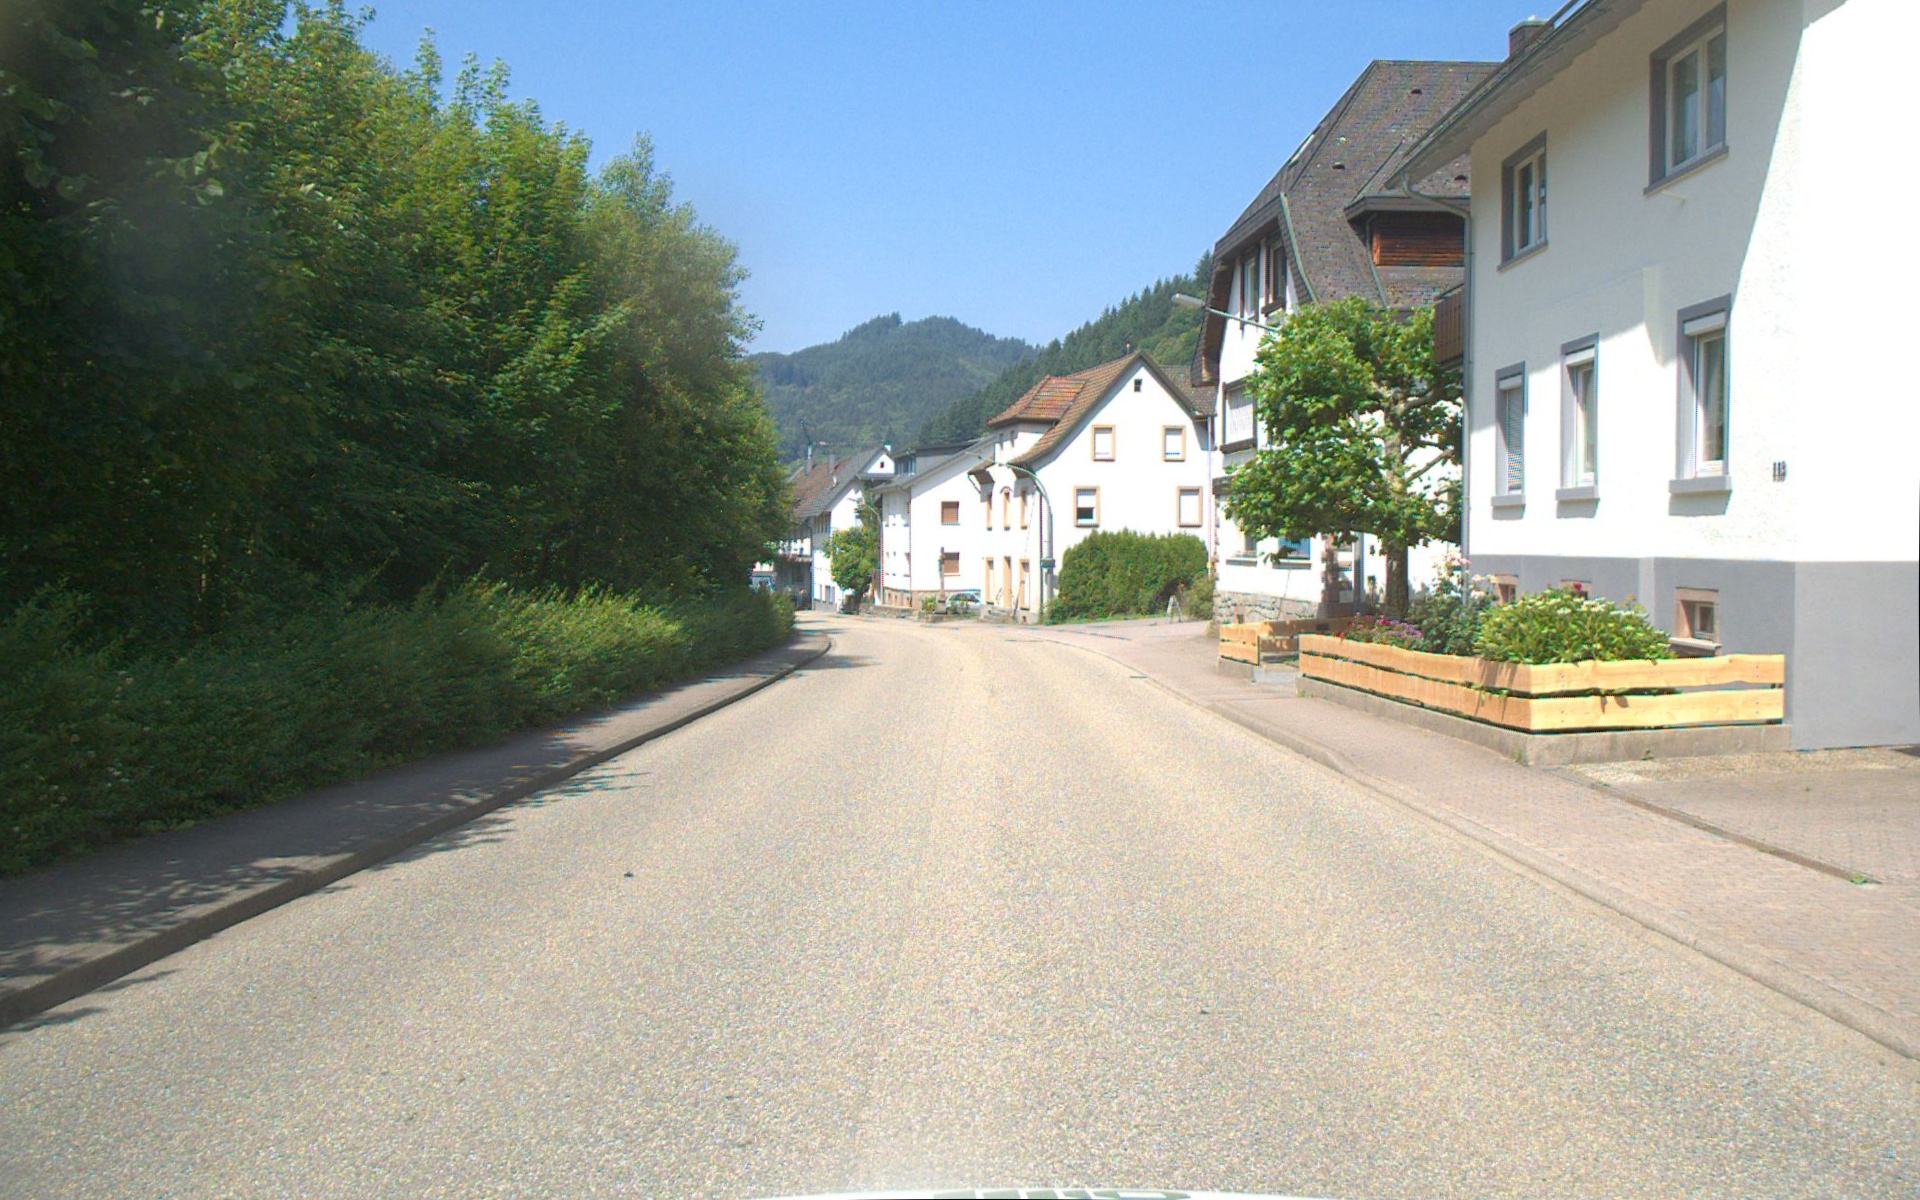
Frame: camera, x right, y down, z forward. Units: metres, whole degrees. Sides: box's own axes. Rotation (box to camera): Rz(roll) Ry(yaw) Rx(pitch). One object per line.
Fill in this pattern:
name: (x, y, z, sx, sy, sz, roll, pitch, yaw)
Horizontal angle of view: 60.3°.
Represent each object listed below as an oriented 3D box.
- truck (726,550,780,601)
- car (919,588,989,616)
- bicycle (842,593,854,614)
truck: (-18.301, -2.103, 145.786, 3.309, 3.847, 8.404, -4, -1, -15)
car: (-0.332, 0.124, 93.588, 3.697, 1.452, 1.605, -2, 0, 33)
bicycle: (-7.986, 0.238, 117.874, 0.418, 1.420, 2.270, -4, 1, -11)
